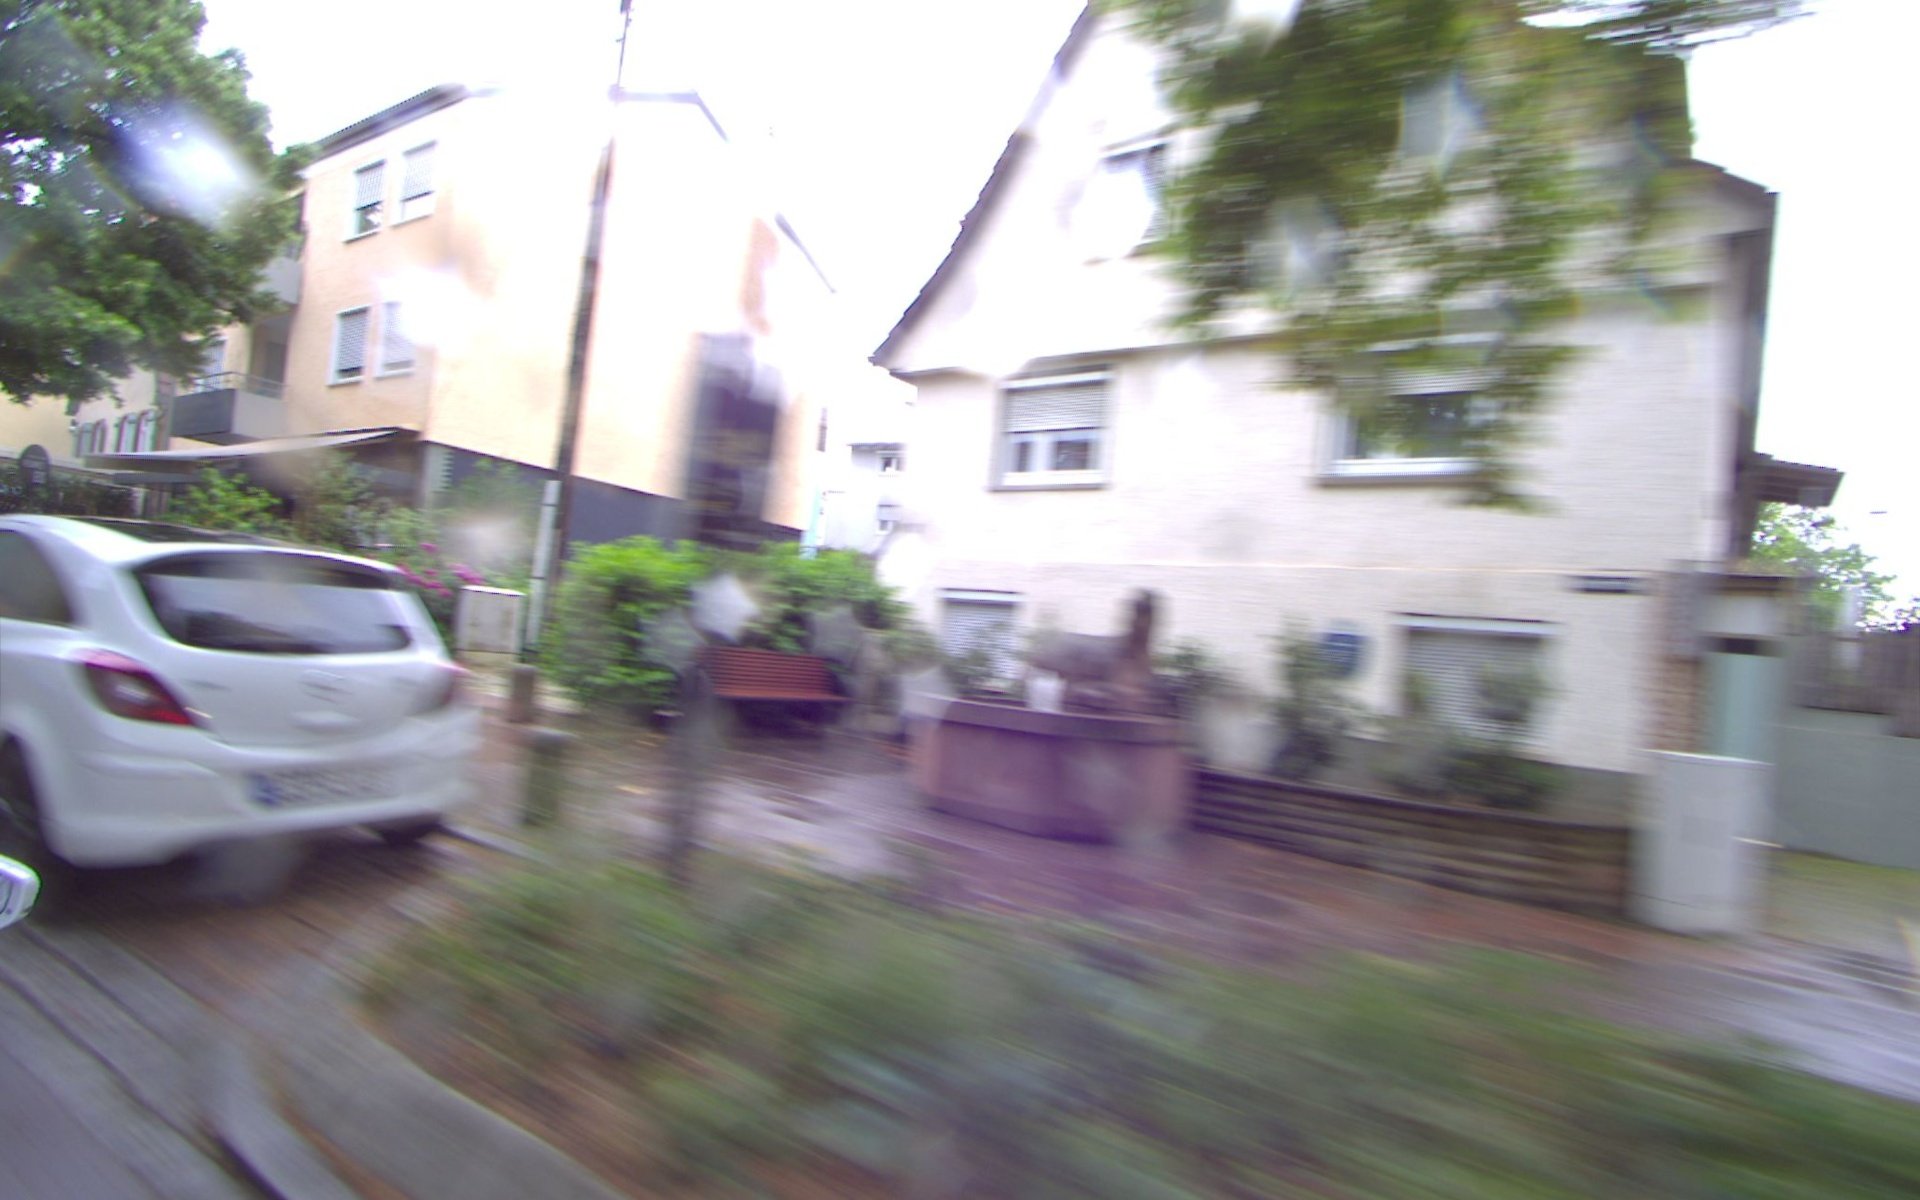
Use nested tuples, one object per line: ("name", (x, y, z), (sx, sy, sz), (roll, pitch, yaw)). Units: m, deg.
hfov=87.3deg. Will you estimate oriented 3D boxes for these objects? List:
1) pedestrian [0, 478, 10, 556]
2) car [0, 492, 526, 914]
("pedestrian", (-15.106, -1.047, 15.224), (0.483, 1.752, 0.769), (7, -1, 20))
("car", (-4.202, 0.268, 5.133), (3.731, 1.416, 1.683), (6, -1, 31))
